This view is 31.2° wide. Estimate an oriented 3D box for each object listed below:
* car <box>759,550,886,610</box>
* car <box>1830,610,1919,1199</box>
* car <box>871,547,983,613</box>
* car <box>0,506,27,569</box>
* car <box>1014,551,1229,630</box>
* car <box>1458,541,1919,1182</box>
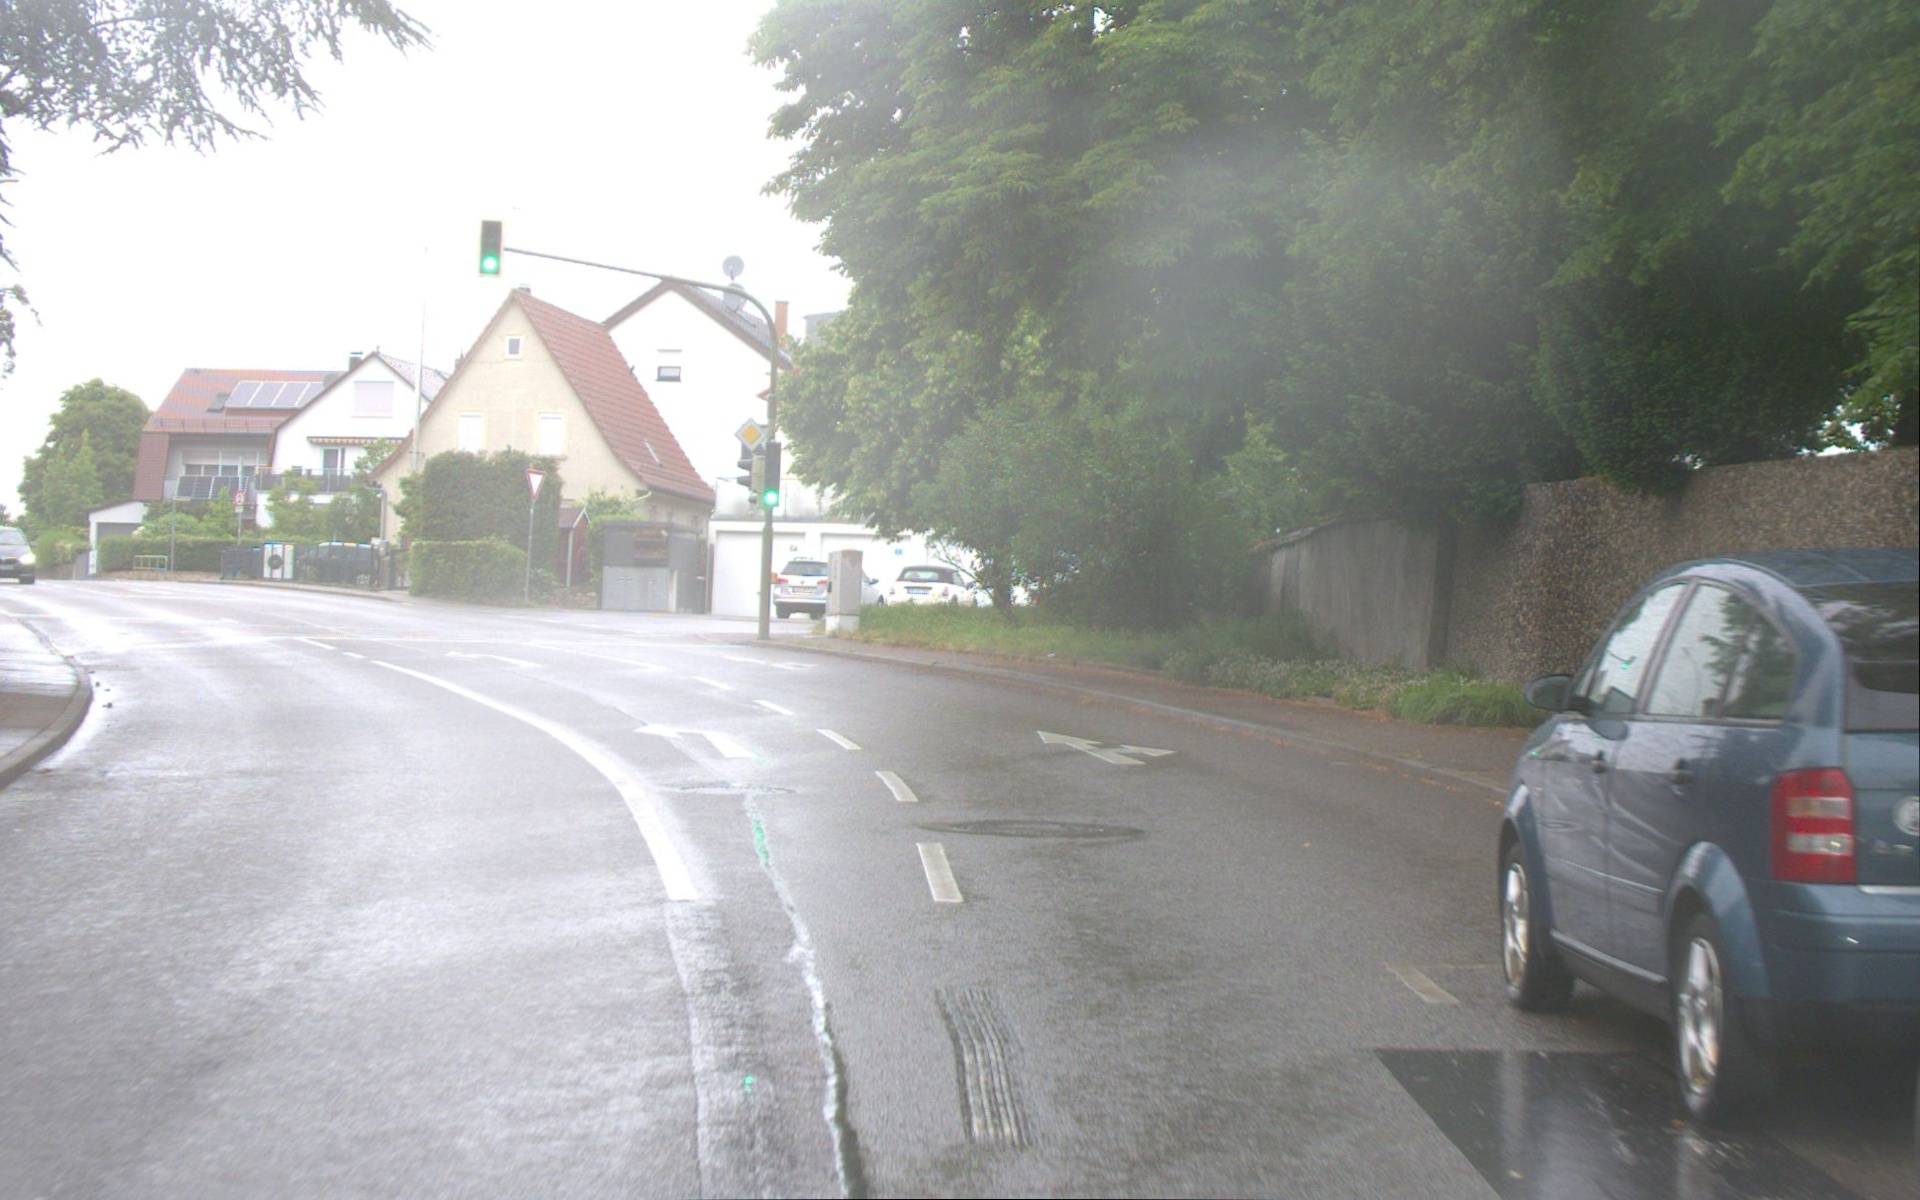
[{"bbox_3d":[-3.323,-0.517,83.889,1.995,1.393,4.148,1,1,14],"label":"car"},{"bbox_3d":[2.830,0.786,4.778,1.993,1.414,4.485,1,1,-1],"label":"car"},{"bbox_3d":[-0.777,-0.511,83.573,1.994,1.525,3.998,1,1,10],"label":"car"},{"bbox_3d":[-27.045,-1.771,95.256,1.993,1.700,4.001,1,1,-19],"label":"car"},{"bbox_3d":[3.310,-0.198,70.994,4.174,1.437,1.834,2,1,-5],"label":"car"},{"bbox_3d":[2.702,0.603,10.164,1.789,1.527,3.801,1,1,-2],"label":"car"}]
